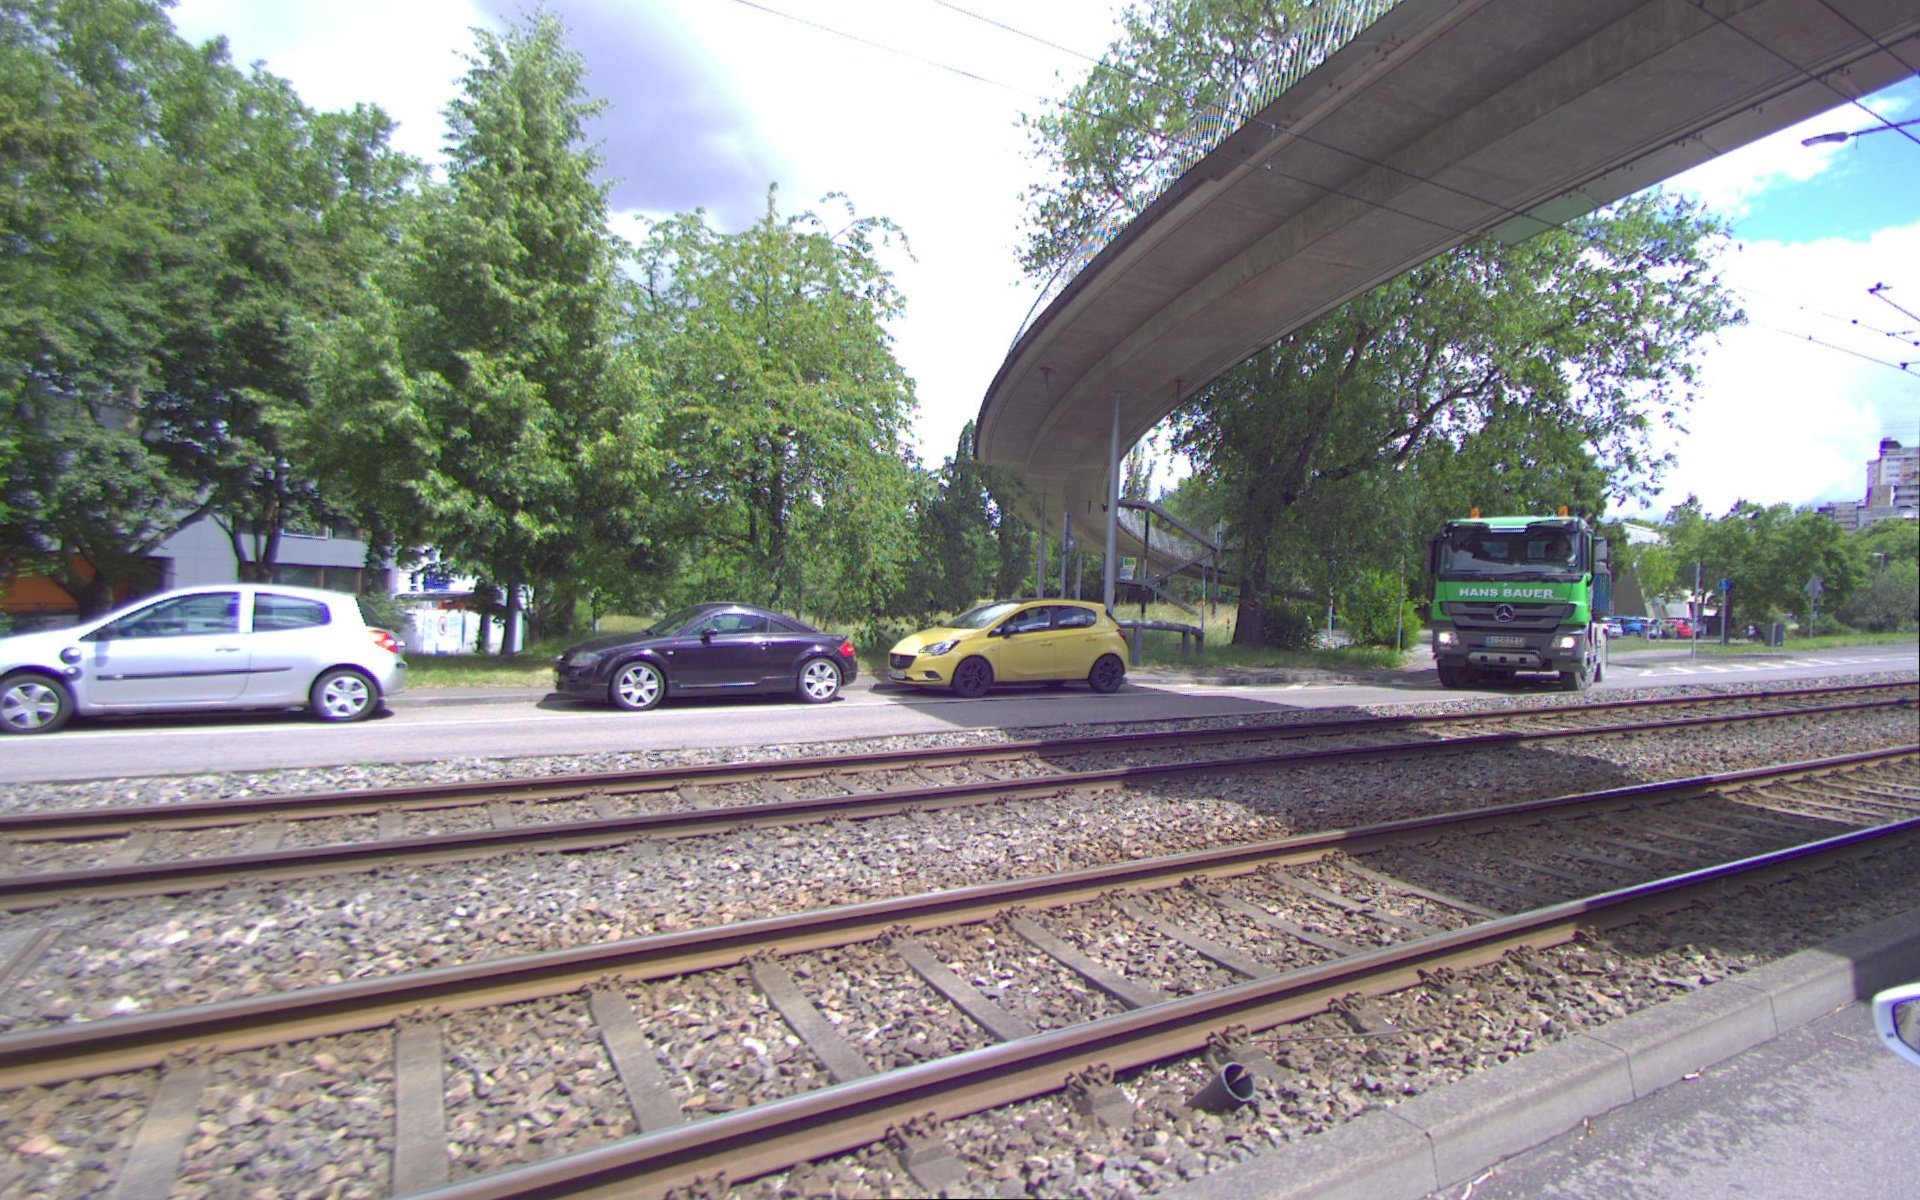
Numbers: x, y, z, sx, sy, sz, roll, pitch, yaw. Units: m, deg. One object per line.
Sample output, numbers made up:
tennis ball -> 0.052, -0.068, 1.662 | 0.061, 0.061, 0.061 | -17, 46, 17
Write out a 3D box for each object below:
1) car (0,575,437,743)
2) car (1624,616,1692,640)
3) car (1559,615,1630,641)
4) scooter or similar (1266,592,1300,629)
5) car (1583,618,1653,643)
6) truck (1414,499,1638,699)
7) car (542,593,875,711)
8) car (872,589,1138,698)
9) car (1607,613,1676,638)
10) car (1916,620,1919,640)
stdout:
car -> -8.022, 0.593, 10.825 | 4.144, 1.514, 1.585 | 2, 2, -31
car -> 54.593, 2.194, 78.633 | 1.971, 1.601, 3.938 | 0, 2, -27
car -> 45.375, 1.990, 71.864 | 1.823, 1.601, 3.891 | 0, 3, -34
scooter or similar -> 10.901, 0.353, 33.924 | 0.778, 1.162, 0.708 | 3, 1, -27
car -> 48.750, 2.239, 74.499 | 1.845, 1.601, 3.938 | 0, 2, -27
truck -> 12.320, -0.023, 21.336 | 2.834, 3.364, 8.996 | 4, 2, 37
car -> -3.309, 0.647, 13.418 | 4.077, 1.378, 1.505 | 1, -1, -29
car -> 0.734, 0.696, 15.923 | 3.851, 1.469, 1.682 | 3, 1, -29
car -> 52.521, 1.944, 77.462 | 1.971, 1.601, 3.938 | 0, 2, -27
car -> 86.530, 2.653, 89.125 | 3.962, 1.795, 1.803 | 0, 0, -37
